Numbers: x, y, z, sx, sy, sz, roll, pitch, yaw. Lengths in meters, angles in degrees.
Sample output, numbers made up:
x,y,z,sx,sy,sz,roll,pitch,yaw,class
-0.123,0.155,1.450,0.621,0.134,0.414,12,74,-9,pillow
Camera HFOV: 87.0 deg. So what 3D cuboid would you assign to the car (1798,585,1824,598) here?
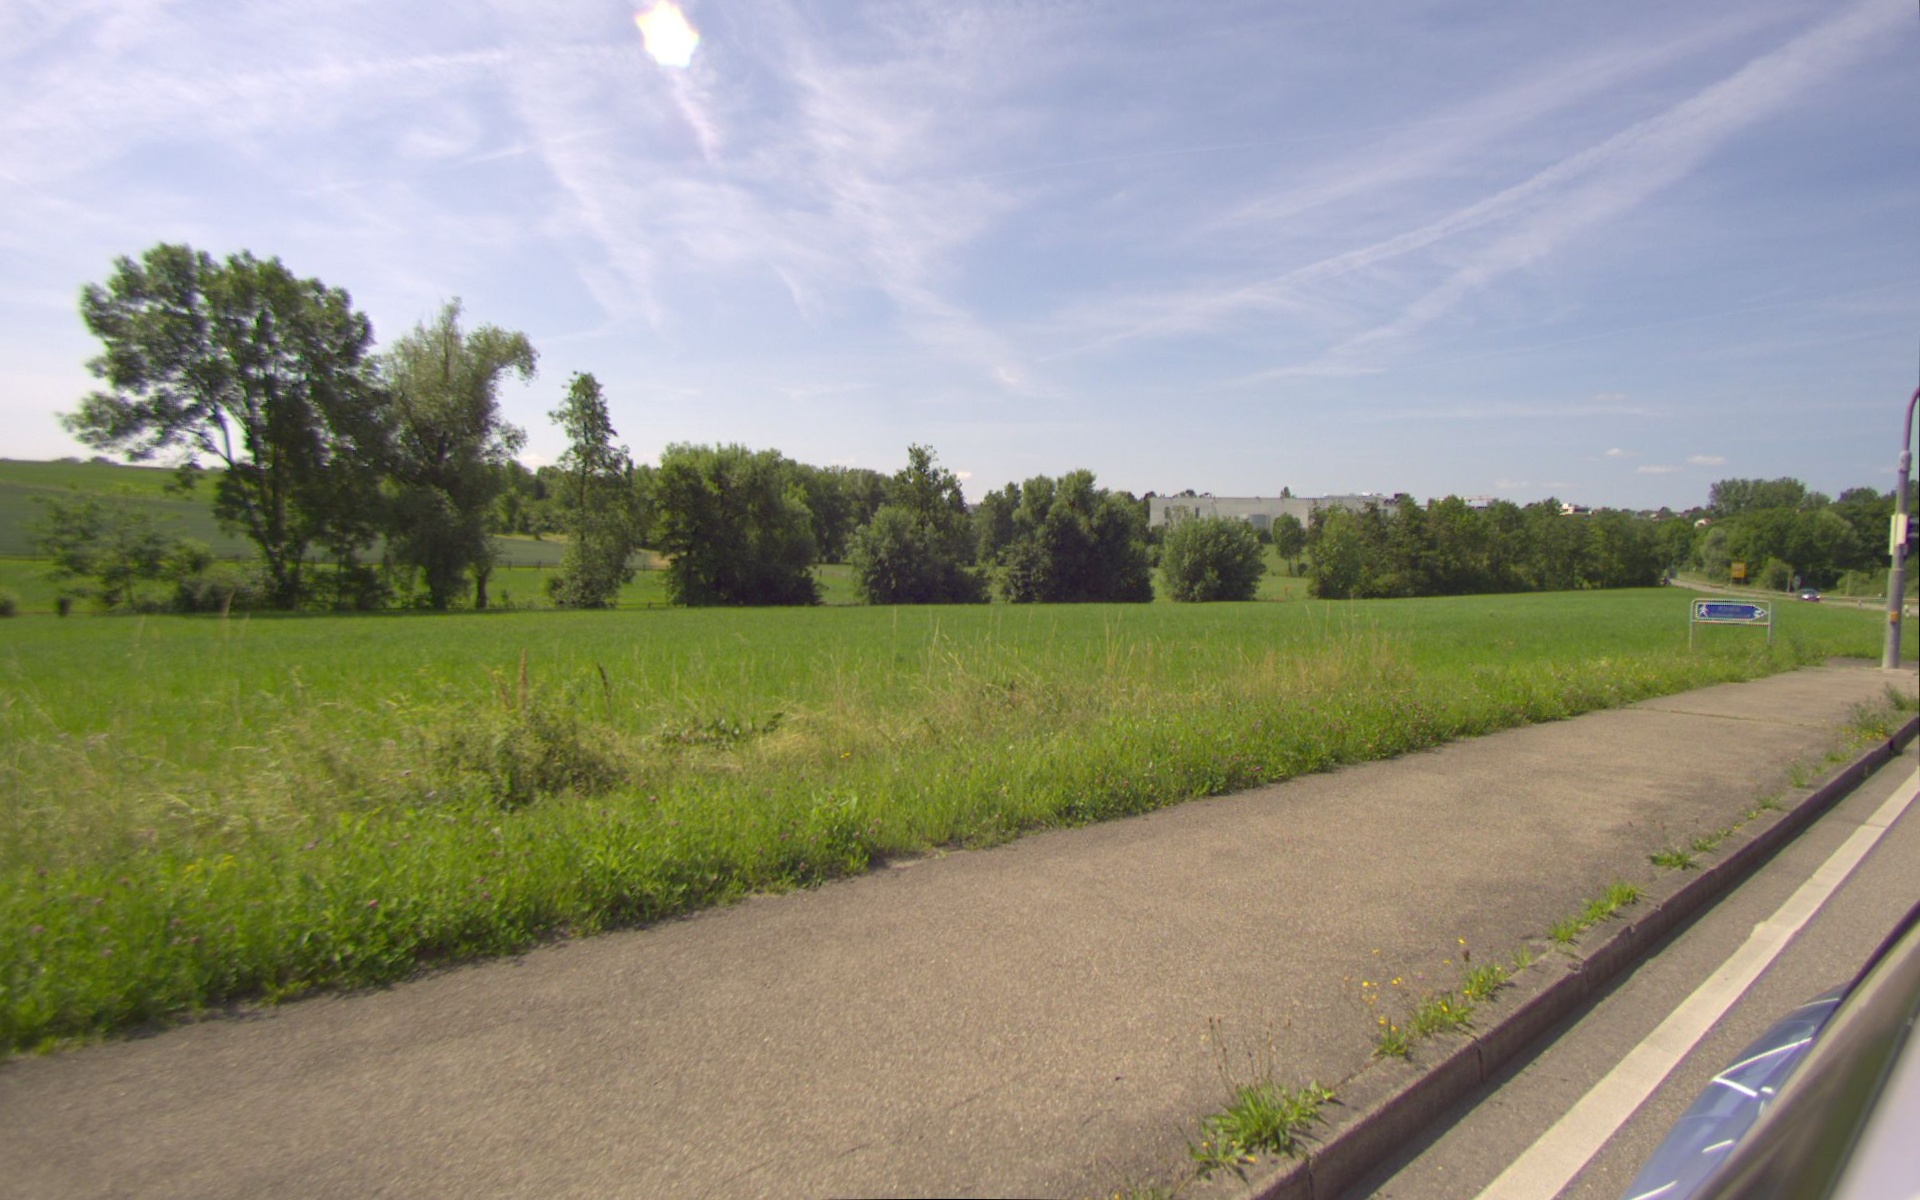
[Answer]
x,y,z,sx,sy,sz,roll,pitch,yaw,class
104.366,-1.029,124.210,1.986,1.605,3.952,0,1,34,car
